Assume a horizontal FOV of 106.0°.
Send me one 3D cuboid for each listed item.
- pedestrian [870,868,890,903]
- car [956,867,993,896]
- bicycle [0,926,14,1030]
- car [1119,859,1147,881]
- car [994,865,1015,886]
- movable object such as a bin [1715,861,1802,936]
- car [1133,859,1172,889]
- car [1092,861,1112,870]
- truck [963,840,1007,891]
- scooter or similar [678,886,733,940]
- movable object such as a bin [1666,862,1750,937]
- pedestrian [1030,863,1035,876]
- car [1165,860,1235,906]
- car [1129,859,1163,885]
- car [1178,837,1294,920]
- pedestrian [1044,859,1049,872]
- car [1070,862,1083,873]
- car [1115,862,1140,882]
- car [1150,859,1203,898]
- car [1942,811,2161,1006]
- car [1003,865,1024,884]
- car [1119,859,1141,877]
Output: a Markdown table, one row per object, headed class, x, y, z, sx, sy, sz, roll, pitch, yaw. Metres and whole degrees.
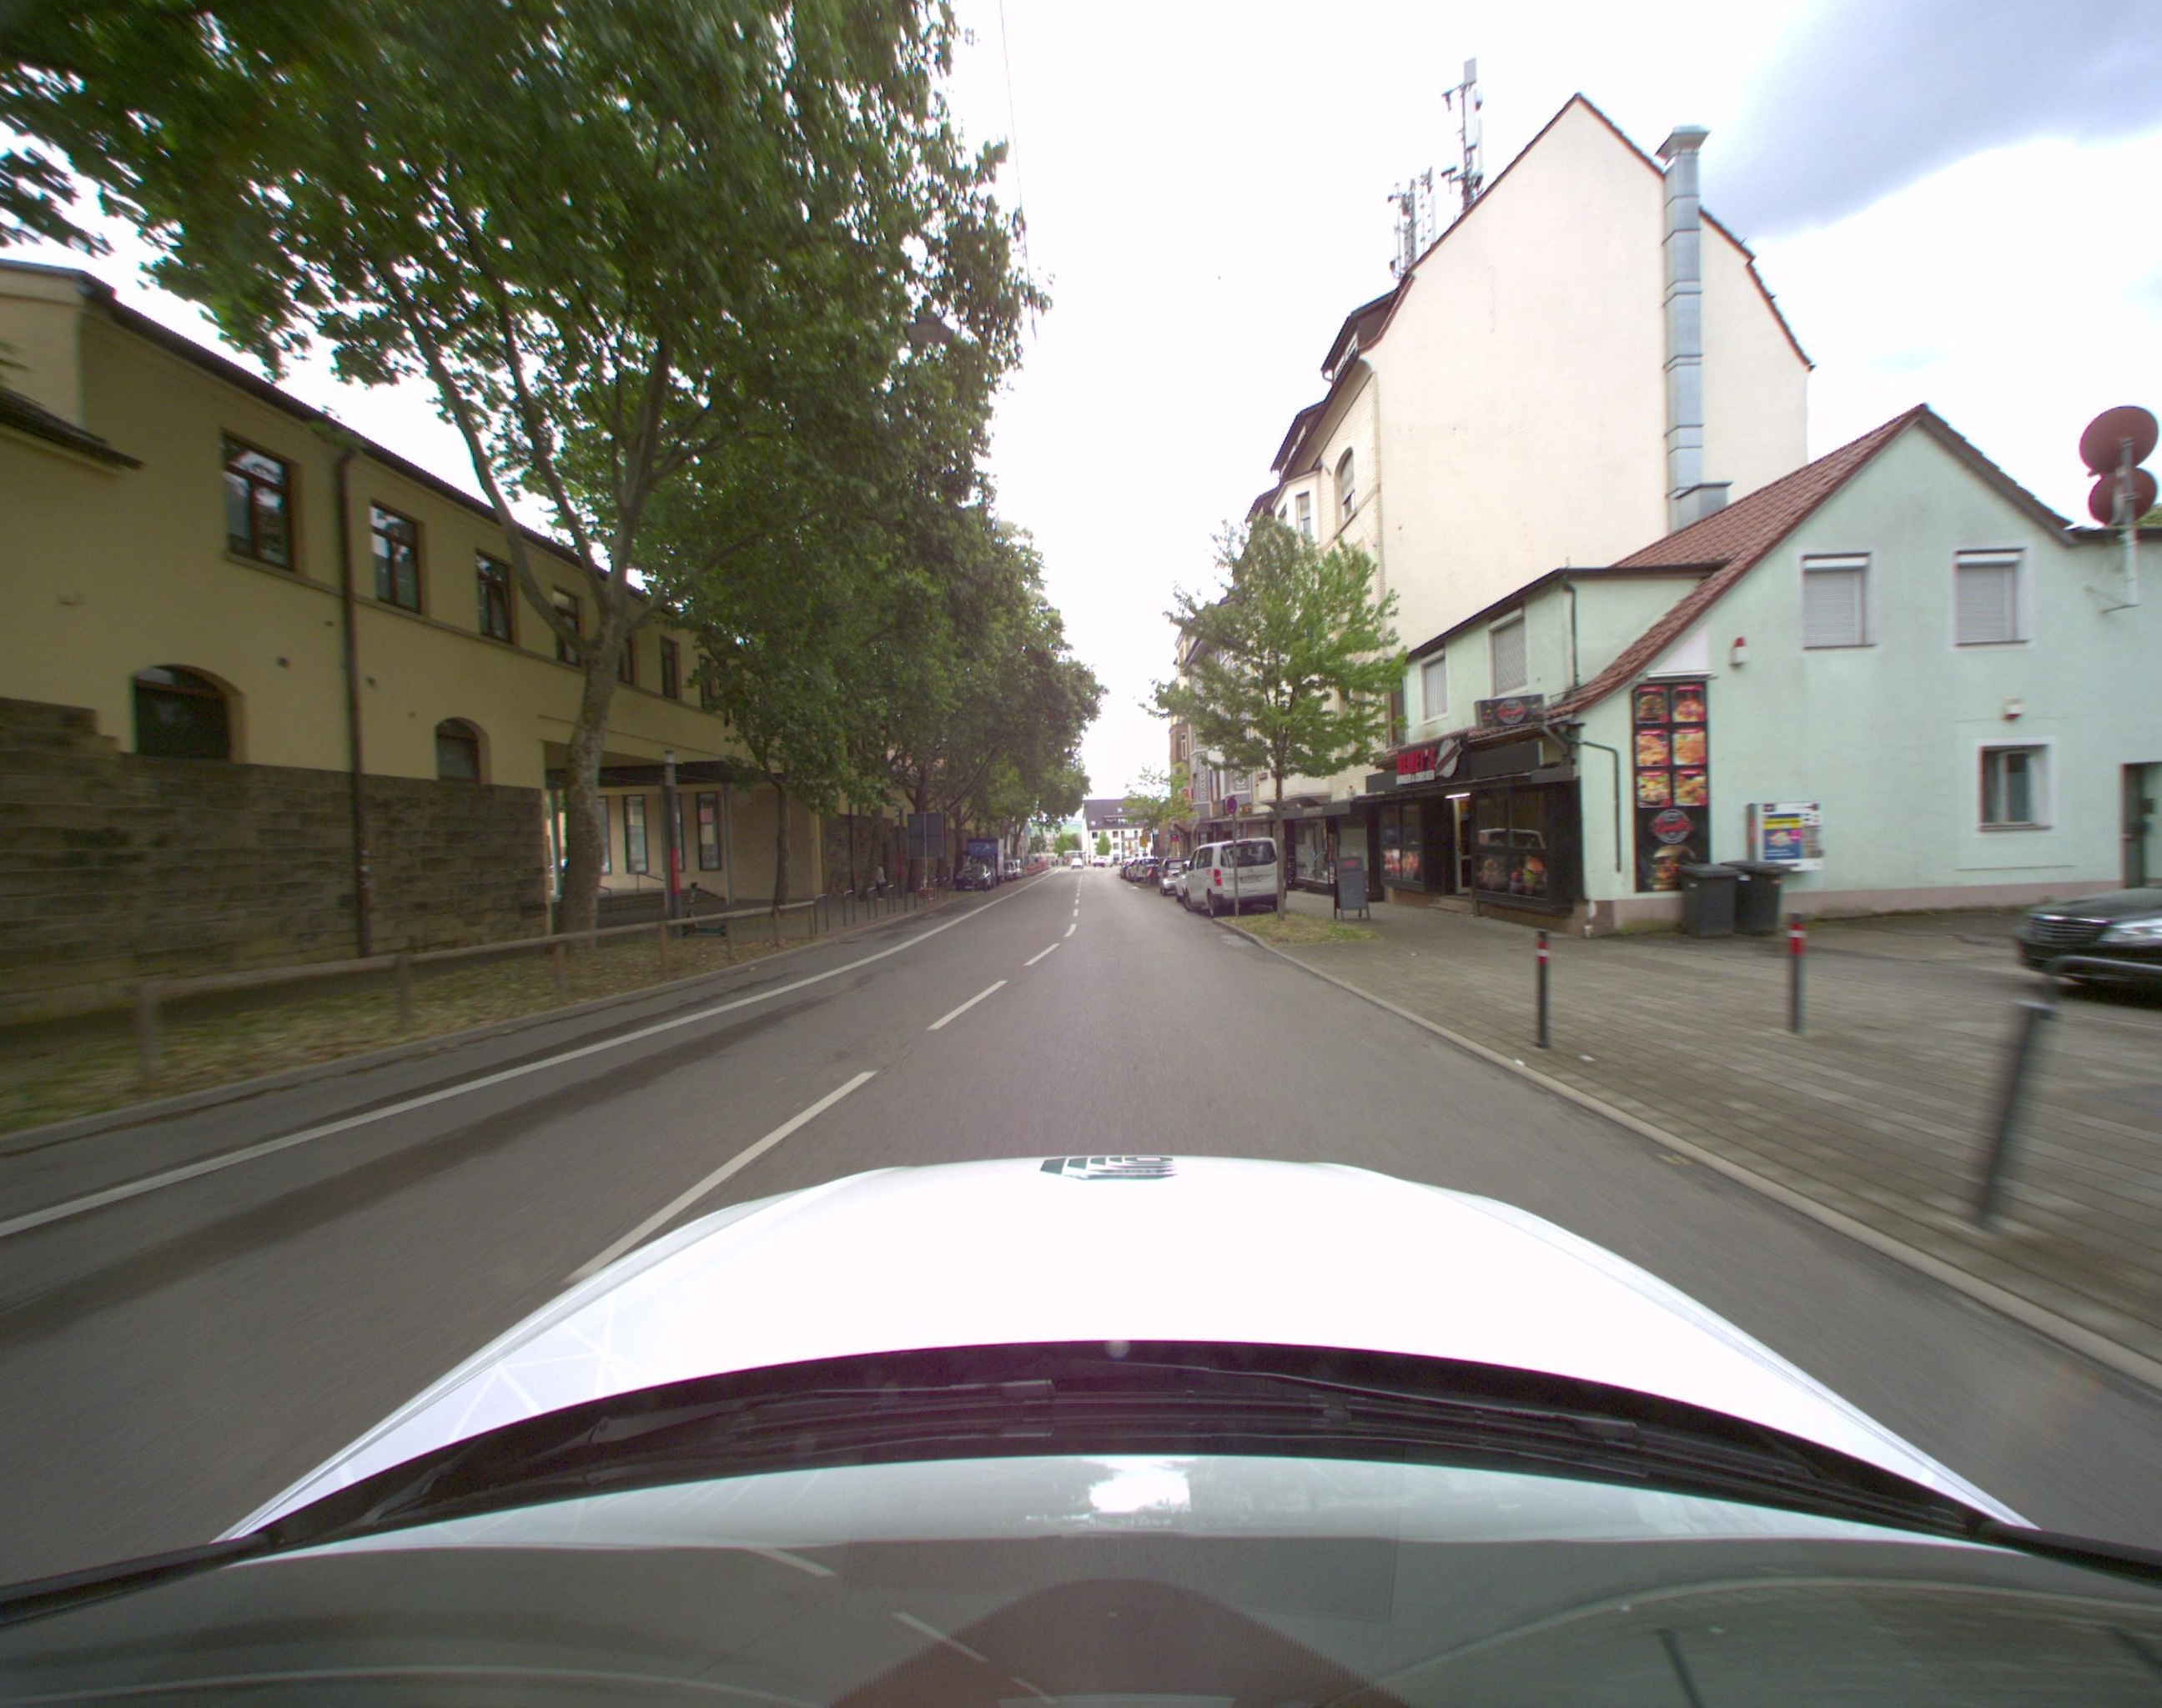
| class | x | y | z | sx | sy | sz | roll | pitch | yaw |
| --- | --- | --- | --- | --- | --- | --- | --- | --- | --- |
| pedestrian | -9.012 | 1.393 | 36.507 | 0.677 | 1.536 | 0.605 | -1 | -1 | -31 |
| car | -6.328 | 1.600 | 48.708 | 1.830 | 1.578 | 3.752 | -2 | -1 | -3 |
| bicycle | -11.707 | 1.303 | 7.580 | 0.594 | 1.091 | 2.195 | 0 | 0 | 2 |
| car | 3.984 | 1.221 | 62.785 | 1.665 | 1.547 | 3.752 | -2 | -1 | -3 |
| car | -6.536 | 1.819 | 69.577 | 1.530 | 1.639 | 3.715 | -2 | -1 | -3 |
| movable object such as a bin | 9.849 | 0.627 | 11.860 | 0.696 | 1.041 | 0.645 | -2 | -1 | 1 |
| car | 3.983 | 1.091 | 45.627 | 1.665 | 1.547 | 3.752 | -2 | -1 | -3 |
| car | 3.658 | 1.937 | 138.532 | 1.661 | 1.424 | 4.200 | -2 | -1 | 28 |
| truck | -6.728 | 0.788 | 58.101 | 2.224 | 3.346 | 7.446 | -2 | -1 | -1 |
| scooter or similar | -8.764 | 1.371 | 19.019 | 1.029 | 1.184 | 0.489 | -2 | -1 | -9 |
| movable object such as a bin | 9.099 | 0.647 | 11.838 | 0.696 | 1.041 | 0.645 | -2 | -1 | 1 |
| pedestrian | -7.685 | 2.457 | 128.005 | 0.631 | 1.995 | 0.784 | -2 | -1 | 1 |
| car | 4.031 | 0.939 | 28.153 | 1.665 | 1.432 | 3.752 | -2 | -1 | -3 |
| car | 4.125 | 1.137 | 51.946 | 1.665 | 1.547 | 3.752 | -2 | -1 | -3 |
| car | 4.061 | 0.611 | 22.225 | 1.989 | 1.936 | 4.914 | -2 | -1 | -3 |
| pedestrian | -5.081 | 1.717 | 121.424 | 0.631 | 2.014 | 0.784 | -2 | -1 | 1 |
| car | -0.617 | 1.930 | 119.116 | 1.858 | 1.489 | 3.880 | -2 | -1 | 1 |
| car | 3.898 | 1.516 | 68.873 | 1.665 | 1.547 | 3.752 | -2 | -1 | -3 |
| car | 4.100 | 1.031 | 35.396 | 1.665 | 1.547 | 3.752 | -2 | -1 | -3 |
| car | 10.509 | 0.334 | 6.335 | 4.861 | 1.469 | 1.939 | -2 | -1 | 20 |
| car | -6.677 | 1.991 | 80.607 | 1.604 | 1.728 | 4.000 | -2 | -1 | 1 |
| car | 4.537 | 1.285 | 75.859 | 1.665 | 1.547 | 3.752 | -2 | -1 | -3 |
